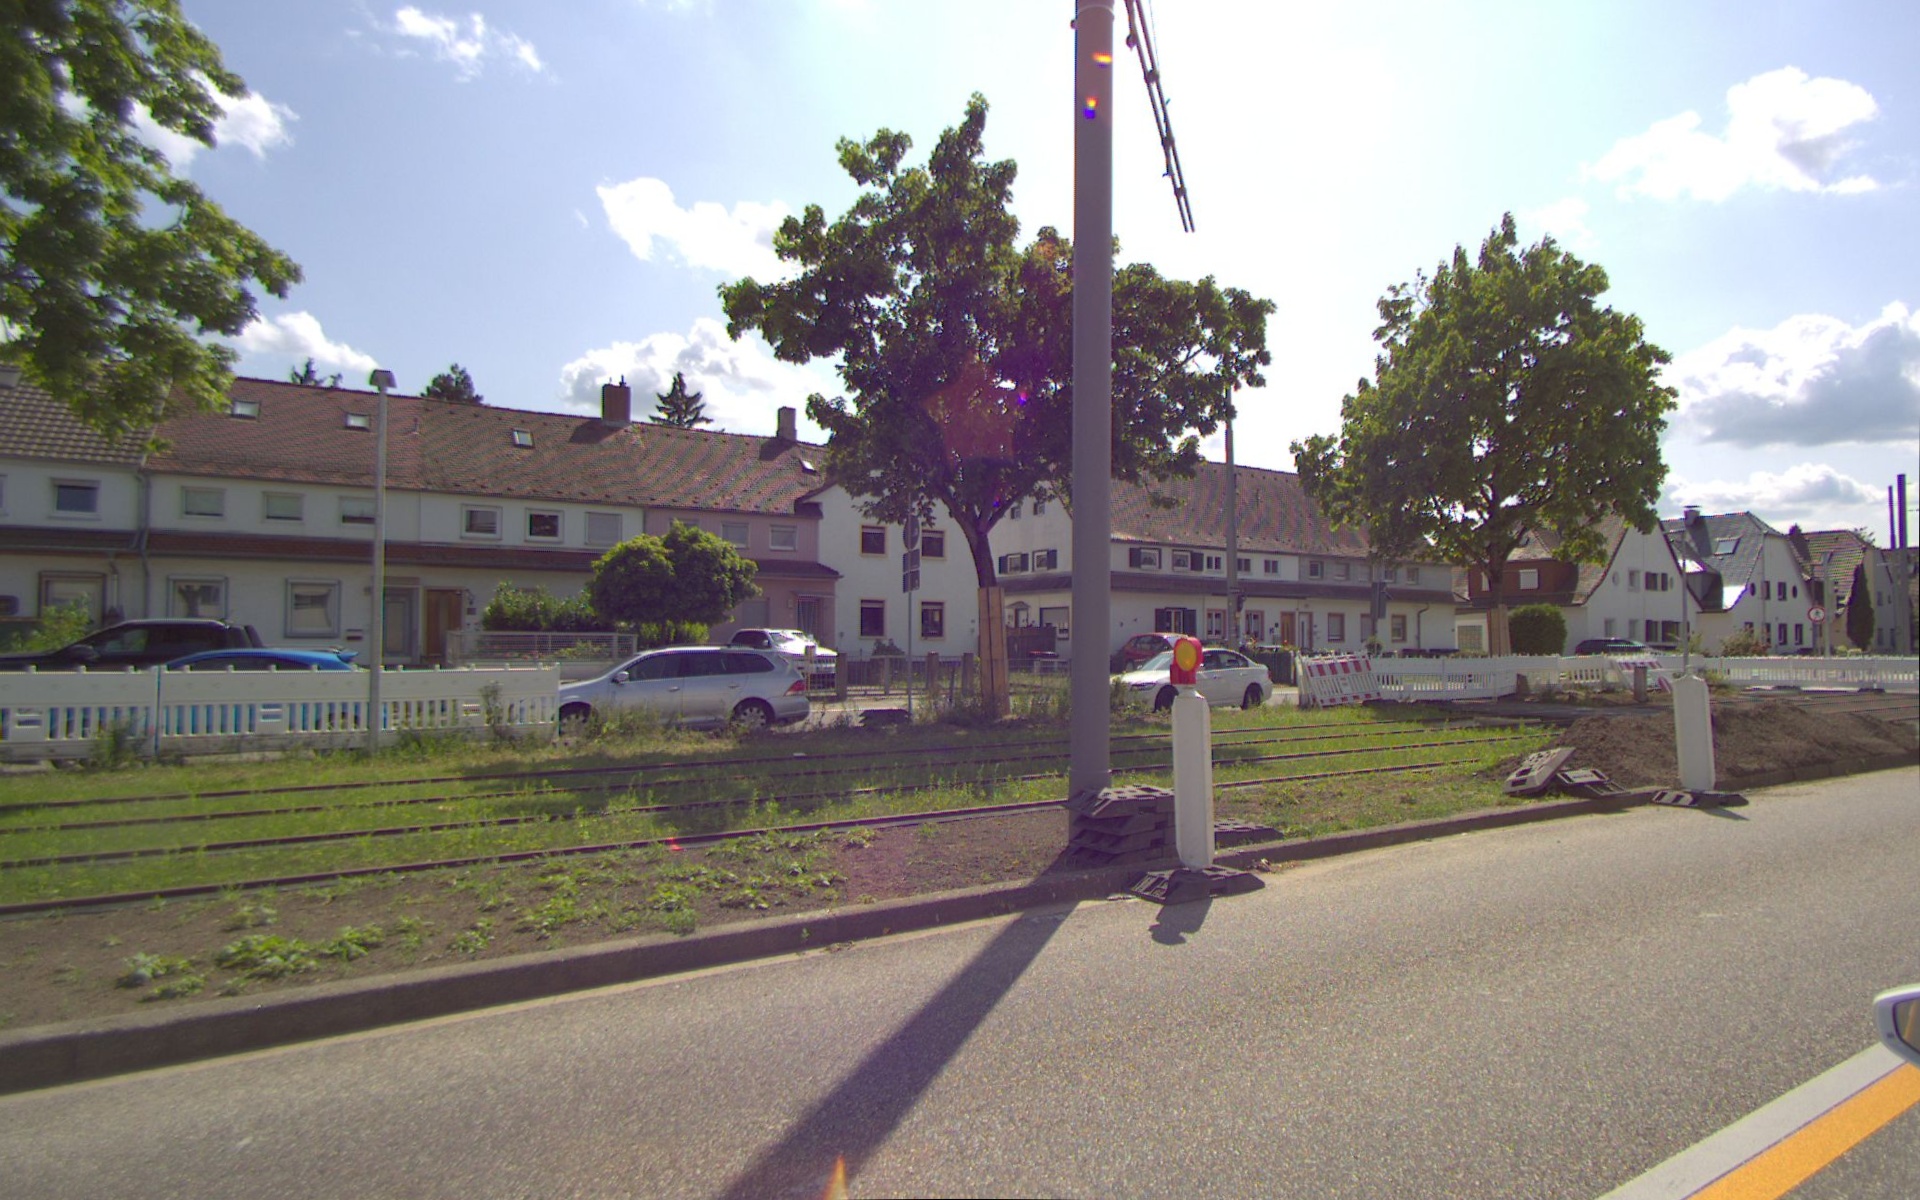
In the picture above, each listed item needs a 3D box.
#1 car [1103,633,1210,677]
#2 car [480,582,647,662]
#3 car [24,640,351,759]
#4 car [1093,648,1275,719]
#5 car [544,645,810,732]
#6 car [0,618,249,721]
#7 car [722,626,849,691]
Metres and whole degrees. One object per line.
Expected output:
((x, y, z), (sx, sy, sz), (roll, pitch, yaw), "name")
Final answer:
((7.233, 2.018, 37.313), (1.707, 1.529, 3.966), (1, -3, -31), "car")
((-10.891, 0.626, 27.606), (3.955, 2.040, 1.983), (2, -1, -32), "car")
((-9.606, 1.181, 12.775), (3.137, 1.342, 1.332), (2, -3, -34), "car")
((4.947, 1.760, 21.939), (4.212, 1.394, 1.530), (2, -3, -37), "car")
((-4.312, 1.287, 15.467), (3.705, 1.192, 1.495), (2, -3, -31), "car")
((-13.320, 1.079, 16.055), (3.058, 1.515, 1.349), (2, -3, -32), "car")
((-5.360, 1.716, 30.444), (1.785, 1.708, 4.369), (2, -1, -40), "car")
